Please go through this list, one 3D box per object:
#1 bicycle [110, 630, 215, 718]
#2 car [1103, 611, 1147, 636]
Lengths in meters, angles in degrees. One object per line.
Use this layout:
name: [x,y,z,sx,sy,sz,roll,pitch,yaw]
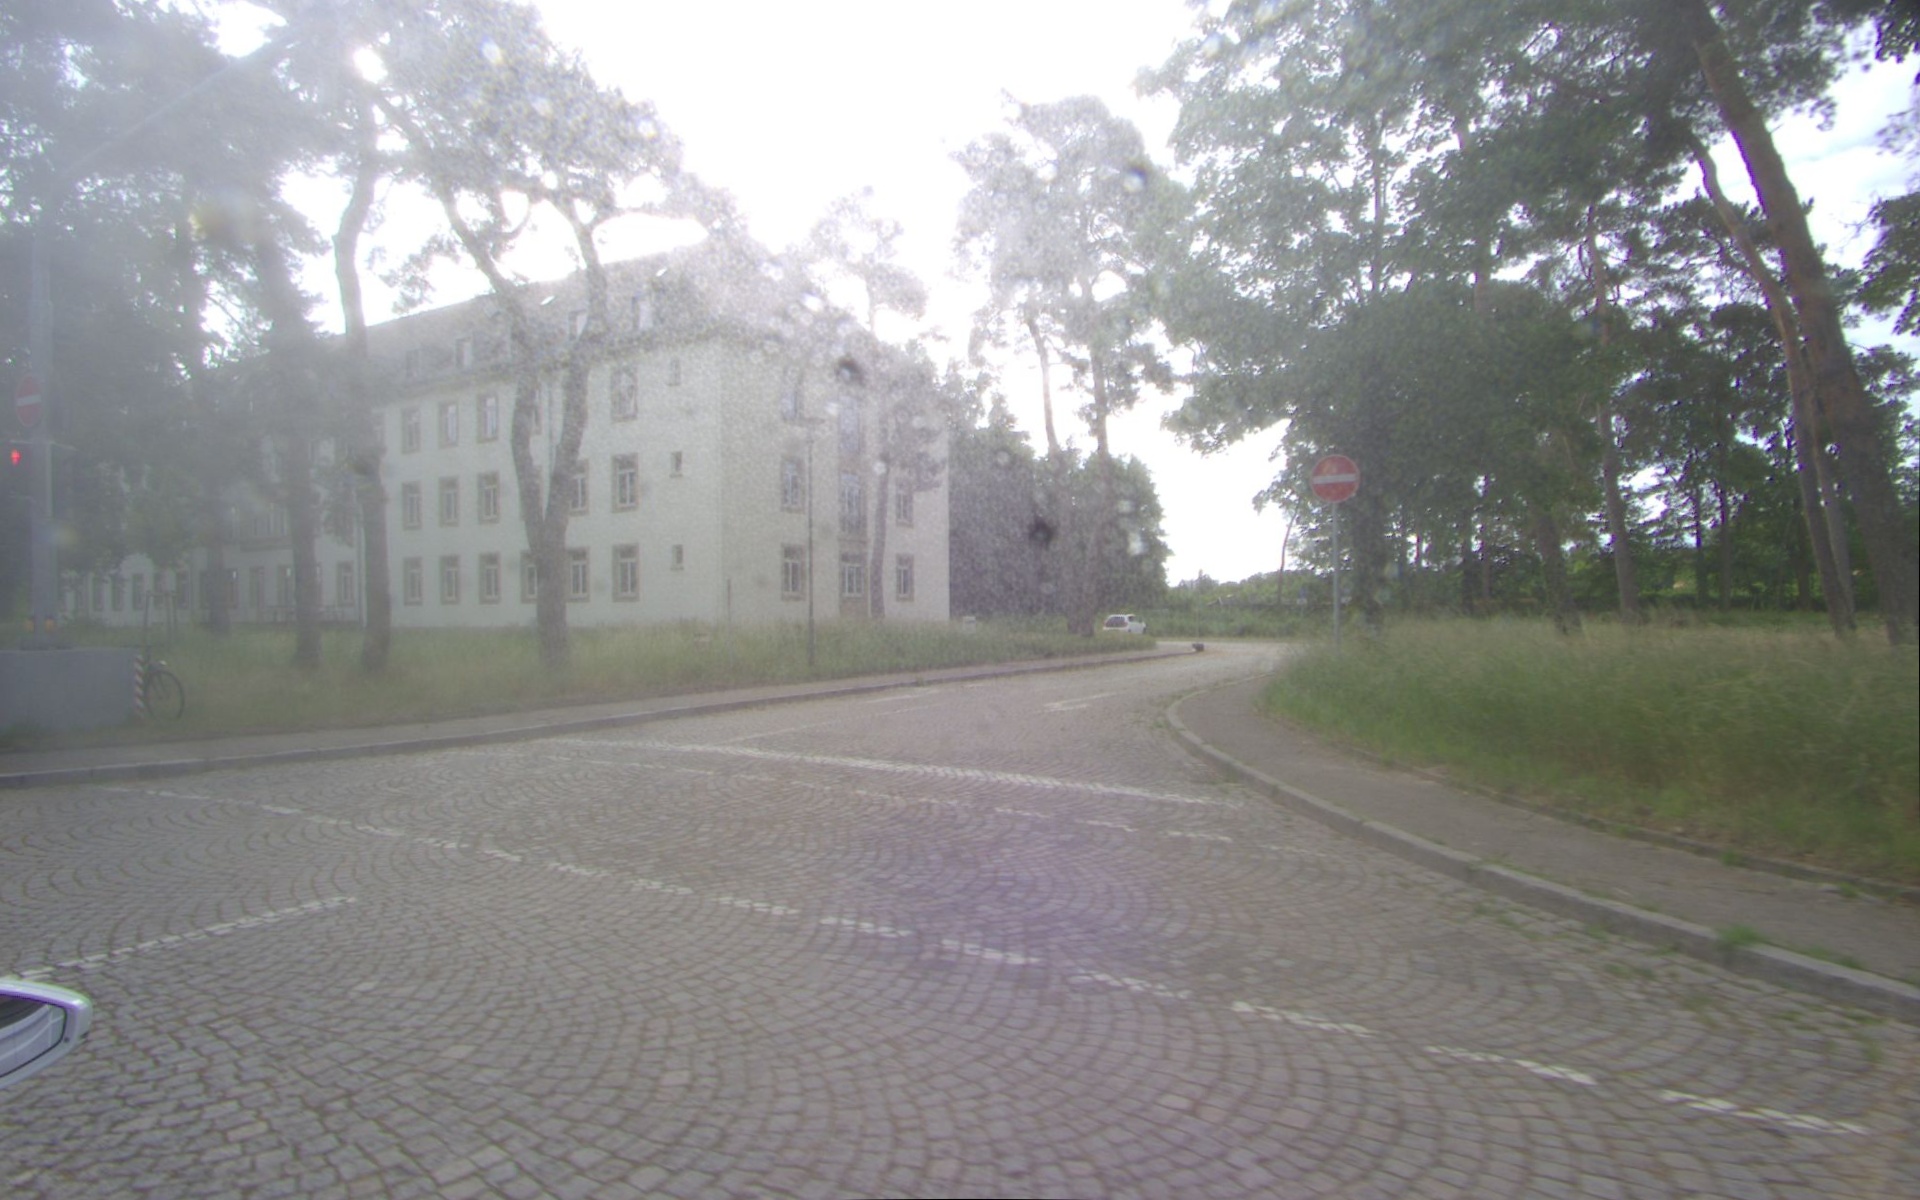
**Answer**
bicycle: [-10.271,0.920,12.880,1.654,0.983,0.578,2,3,35]
car: [9.711,1.394,58.902,1.467,1.455,3.180,-1,-2,31]
